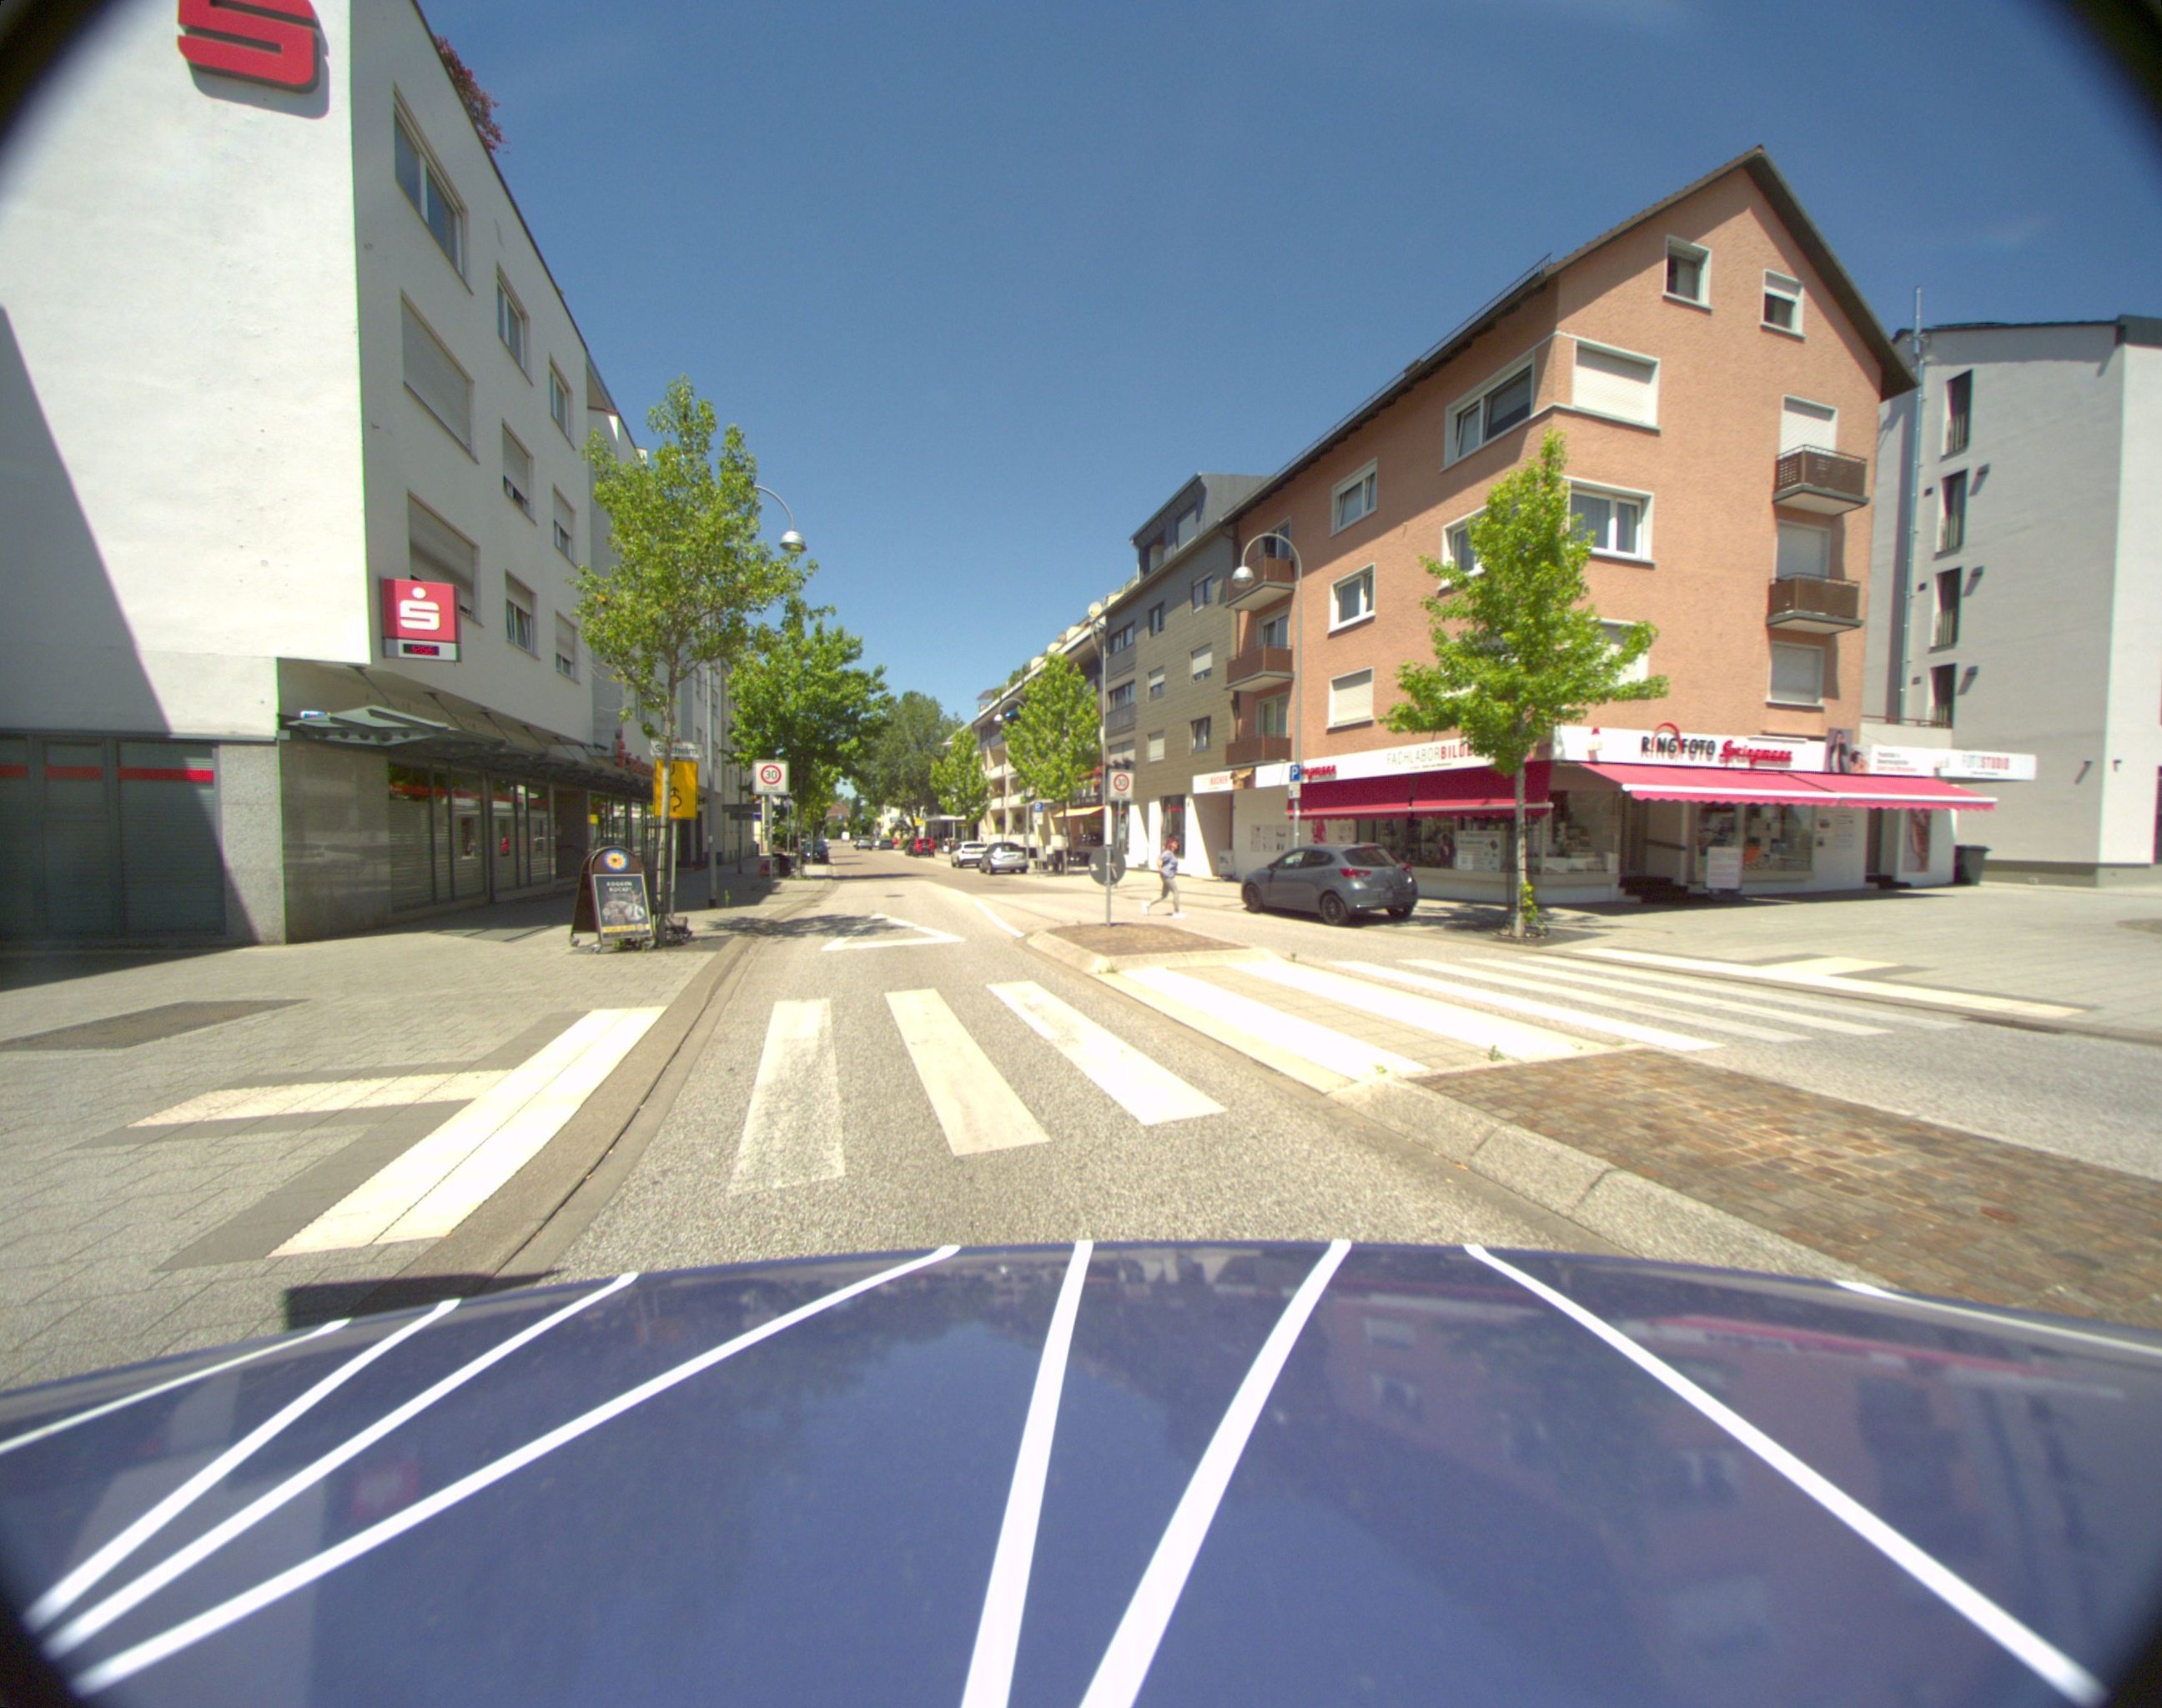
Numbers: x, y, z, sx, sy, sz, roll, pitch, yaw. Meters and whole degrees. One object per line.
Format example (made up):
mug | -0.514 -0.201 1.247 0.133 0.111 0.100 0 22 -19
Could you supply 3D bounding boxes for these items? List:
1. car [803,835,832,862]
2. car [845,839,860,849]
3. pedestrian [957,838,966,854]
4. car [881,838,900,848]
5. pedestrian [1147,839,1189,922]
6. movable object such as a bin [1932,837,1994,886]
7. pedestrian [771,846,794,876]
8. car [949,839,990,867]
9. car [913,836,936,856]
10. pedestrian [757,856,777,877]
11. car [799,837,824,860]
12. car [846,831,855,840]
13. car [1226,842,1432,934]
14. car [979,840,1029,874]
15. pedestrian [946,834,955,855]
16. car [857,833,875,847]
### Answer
car | -18.323 -0.400 52.733 1.696 1.712 3.992 2 1 -21
car | -36.579 -1.606 121.470 1.779 1.624 4.290 -1 2 -23
pedestrian | -10.651 -0.720 67.886 0.779 1.490 0.696 0 2 -7
car | -26.638 -1.562 106.282 2.002 1.412 3.991 -1 2 -22
pedestrian | 1.700 0.500 14.922 0.734 1.601 0.559 0 2 0
movable object such as a bin | 23.088 0.191 19.897 0.838 1.246 0.746 0 2 -16
pedestrian | -12.529 0.306 31.913 0.762 1.233 0.537 0 2 -4
car | -6.647 -0.116 45.058 1.702 1.583 4.292 -1 2 -18
car | -13.885 -0.759 67.264 1.647 1.653 3.364 -2 2 -18
pedestrian | -13.301 0.520 32.187 0.679 0.847 0.537 1 2 -4
car | -20.697 -0.451 58.313 1.696 1.712 4.125 -1 2 -21
car | -63.927 -5.165 210.750 2.235 2.453 5.239 -1 2 -18
car | 4.747 0.548 15.161 1.674 1.478 4.052 -3 3 -21
car | -3.587 0.101 34.927 1.628 1.465 3.542 -1 2 -18
pedestrian | -11.522 -0.856 67.228 0.668 1.794 0.685 0 2 -3
car | -28.346 -1.869 100.201 1.909 1.744 4.747 0 1 -21
